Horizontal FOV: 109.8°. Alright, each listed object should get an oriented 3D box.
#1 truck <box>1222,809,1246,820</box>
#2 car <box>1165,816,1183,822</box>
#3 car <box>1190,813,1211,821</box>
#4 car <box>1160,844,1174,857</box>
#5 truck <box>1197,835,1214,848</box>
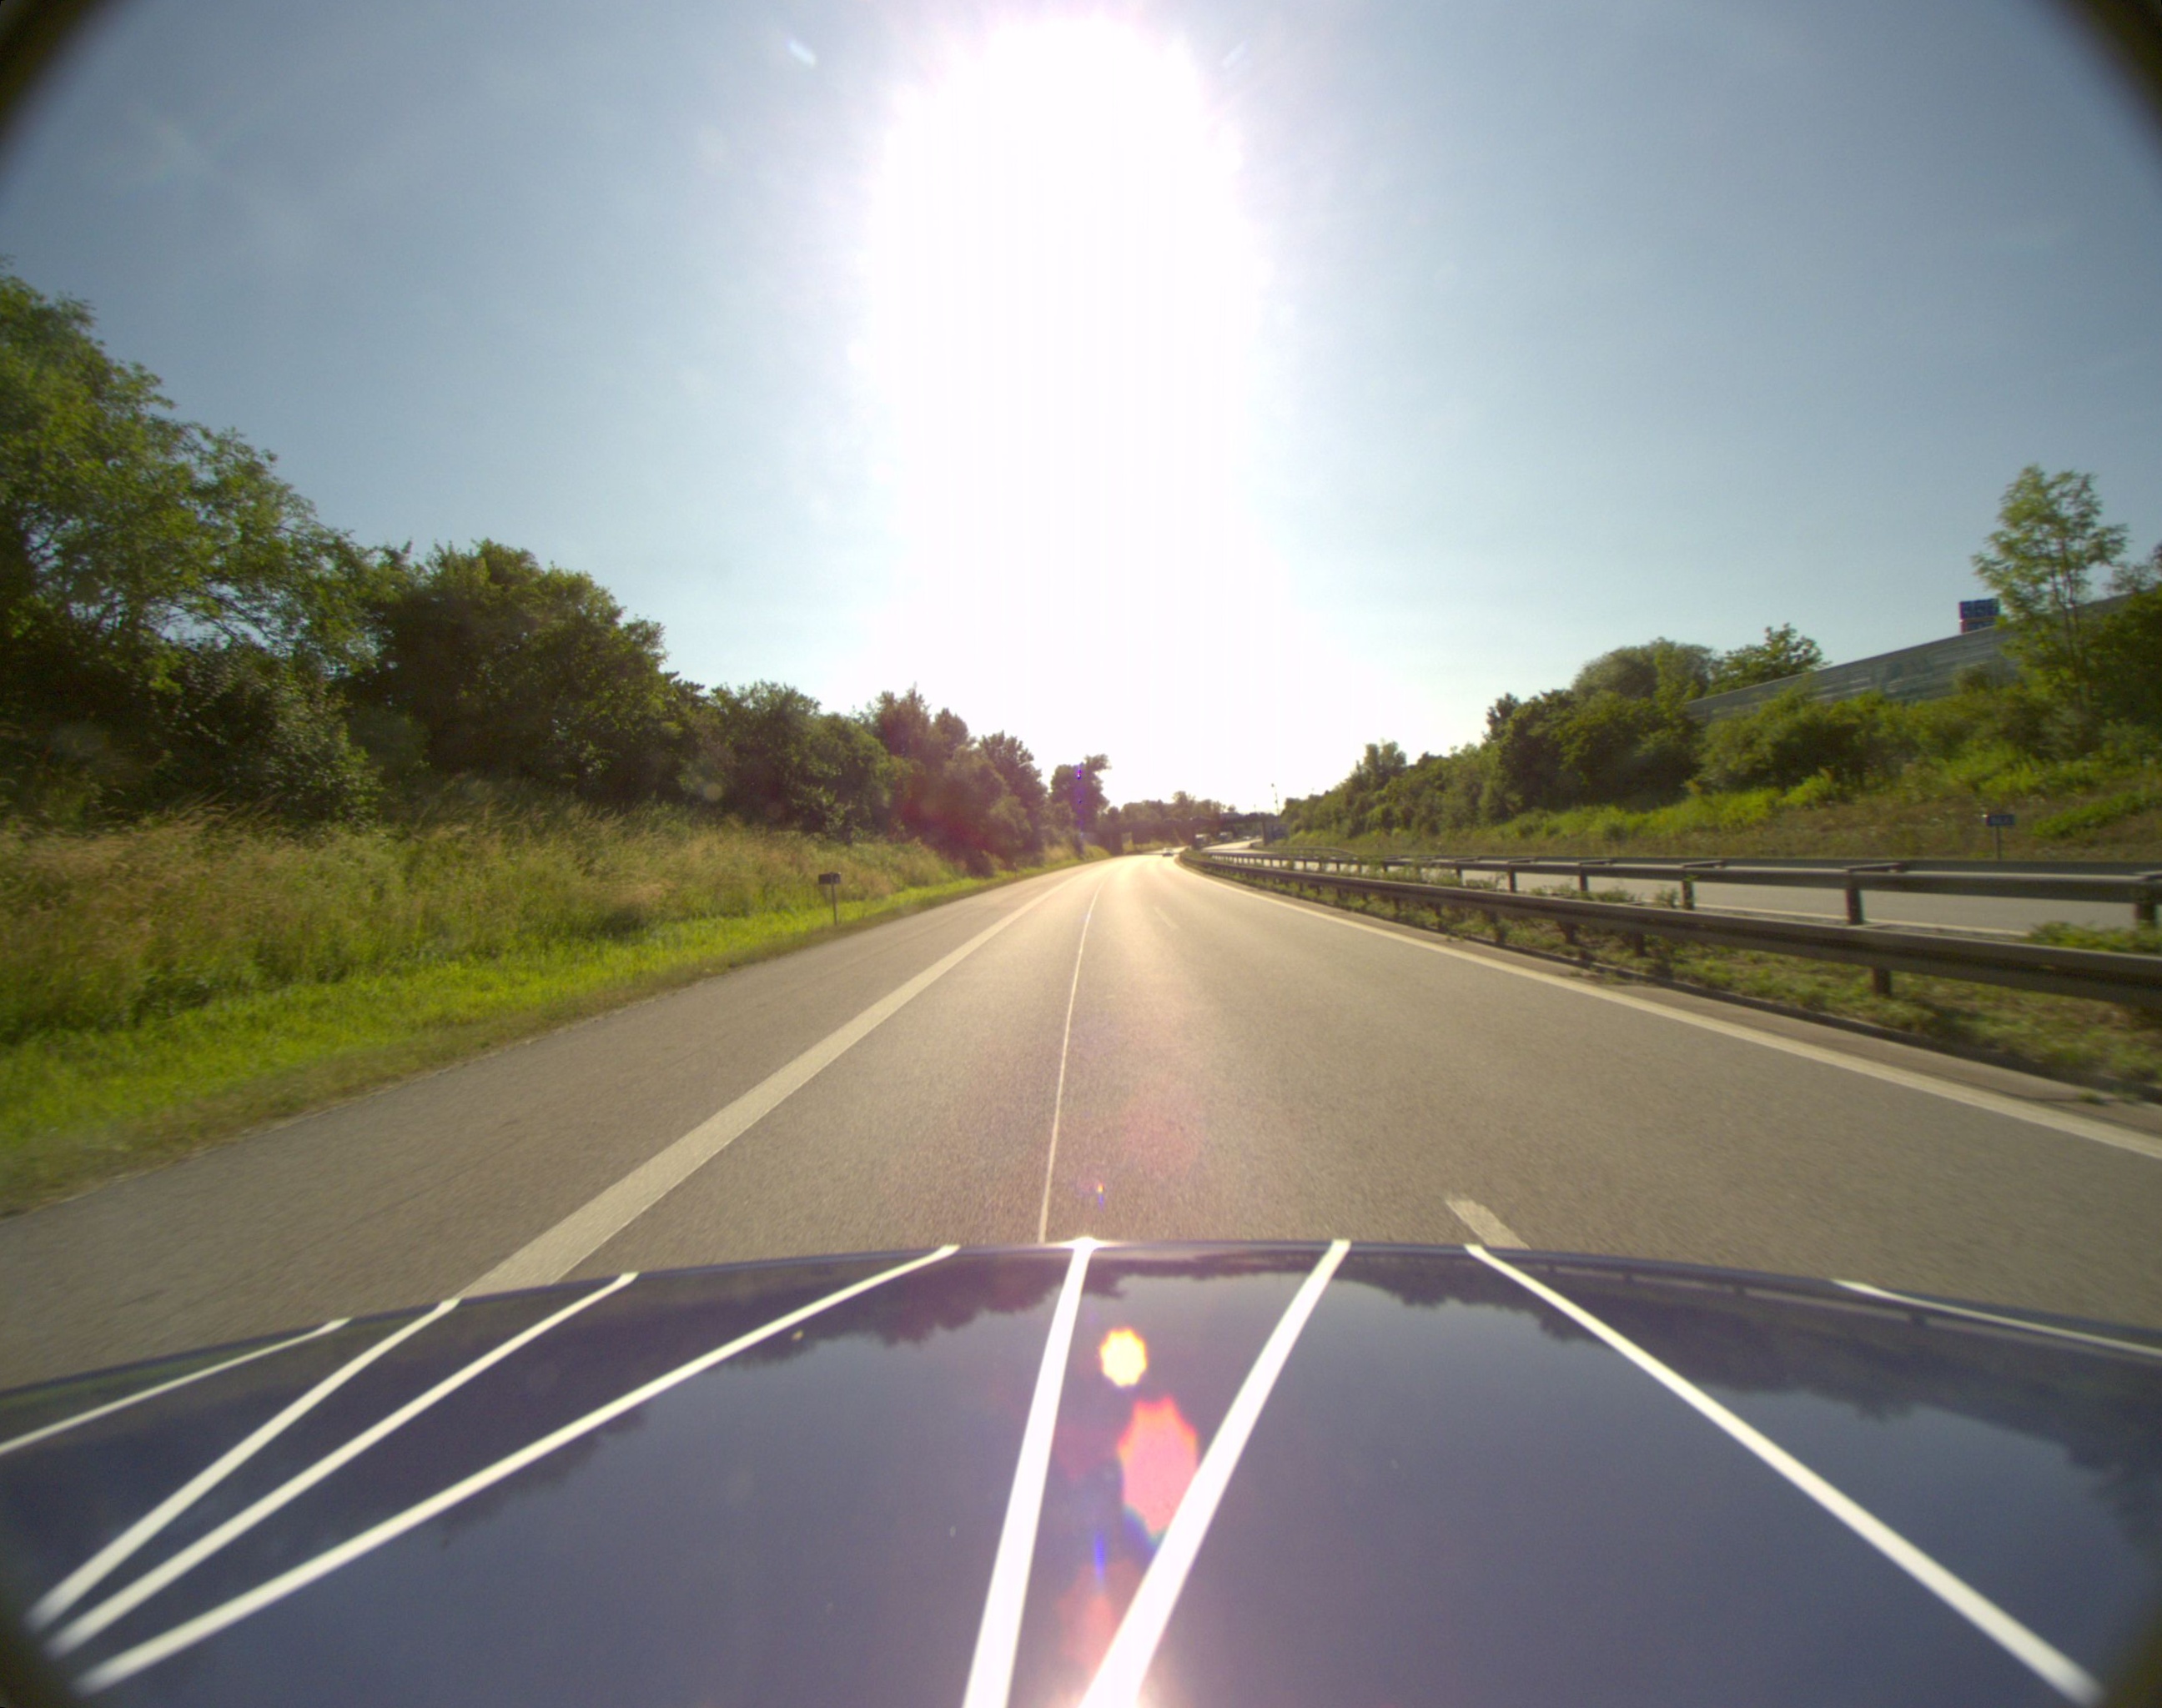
[{"bbox_3d":[32.203,-8.292,160.245,4.864,2.155,2.001,-2,2,10],"label":"truck"},{"bbox_3d":[19.823,-7.451,161.904,3.840,1.298,1.825,-2,2,10],"label":"car"},{"bbox_3d":[25.428,-7.850,161.523,4.436,1.547,1.907,-2,2,10],"label":"car"},{"bbox_3d":[14.418,-0.612,126.638,1.997,2.002,4.602,-4,0,9],"label":"car"},{"bbox_3d":[42.045,-4.349,256.825,3.430,4.188,12.099,-2,2,19],"label":"truck"}]
